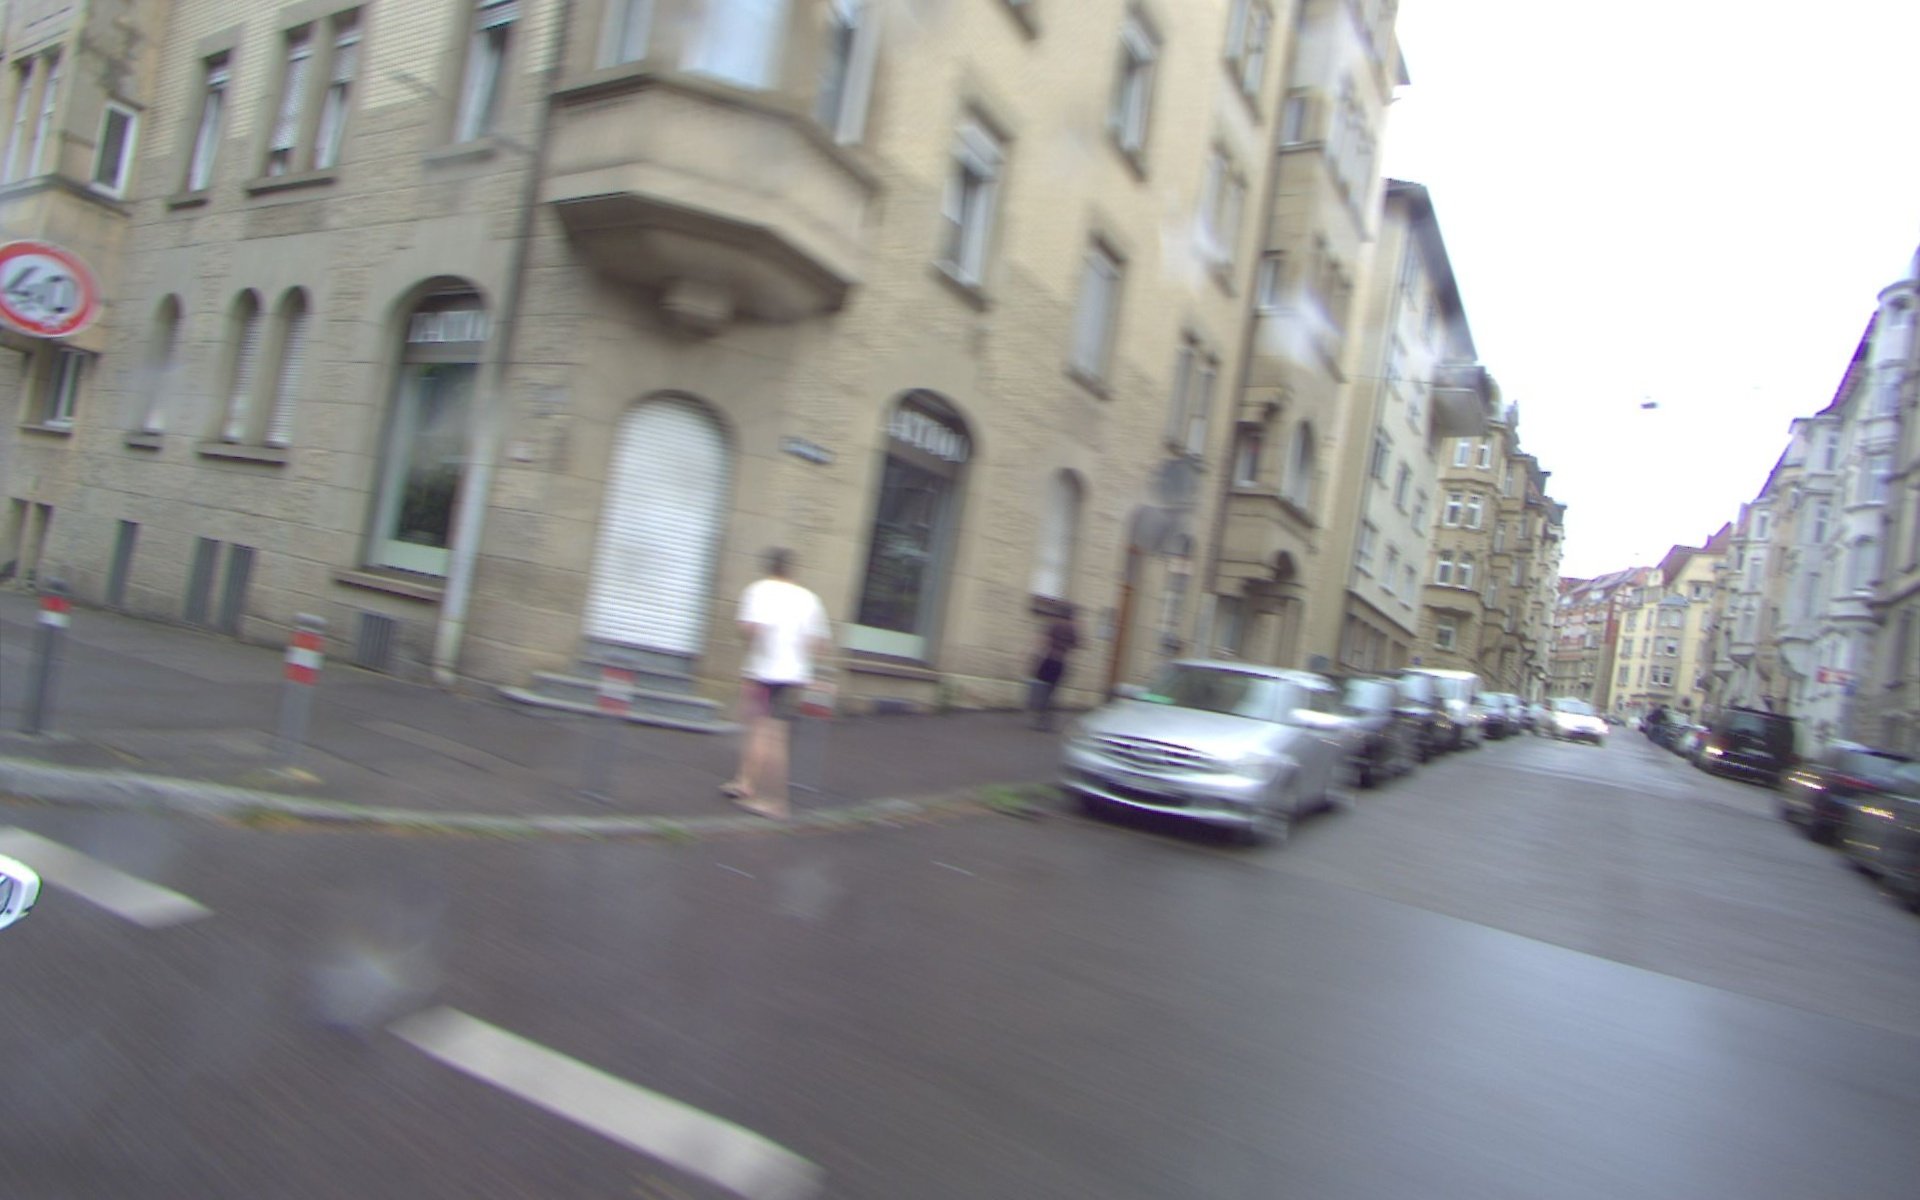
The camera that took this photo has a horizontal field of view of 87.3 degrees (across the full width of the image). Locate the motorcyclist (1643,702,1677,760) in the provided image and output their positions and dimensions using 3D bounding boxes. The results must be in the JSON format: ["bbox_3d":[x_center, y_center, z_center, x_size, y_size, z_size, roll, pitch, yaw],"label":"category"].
[{"bbox_3d":[22.155,4.147,31.819,0.635,1.728,0.930,7,-2,41],"label":"motorcyclist"}]

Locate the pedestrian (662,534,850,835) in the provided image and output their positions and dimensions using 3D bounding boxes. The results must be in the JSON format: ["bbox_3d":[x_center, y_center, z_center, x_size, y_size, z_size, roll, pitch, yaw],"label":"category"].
[{"bbox_3d":[-1.345,0.537,6.675,0.745,1.809,0.695,8,1,29],"label":"pedestrian"}]

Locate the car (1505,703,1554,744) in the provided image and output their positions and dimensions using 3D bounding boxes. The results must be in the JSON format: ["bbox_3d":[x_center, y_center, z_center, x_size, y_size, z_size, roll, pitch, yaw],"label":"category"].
[{"bbox_3d":[28.505,6.188,50.342,1.722,1.711,3.994,7,-3,34],"label":"car"}]

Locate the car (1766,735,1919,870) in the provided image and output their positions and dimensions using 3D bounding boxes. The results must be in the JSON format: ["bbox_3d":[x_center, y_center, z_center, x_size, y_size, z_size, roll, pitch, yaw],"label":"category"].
[{"bbox_3d":[13.269,2.887,14.650,1.834,1.460,4.133,8,-1,33],"label":"car"}]

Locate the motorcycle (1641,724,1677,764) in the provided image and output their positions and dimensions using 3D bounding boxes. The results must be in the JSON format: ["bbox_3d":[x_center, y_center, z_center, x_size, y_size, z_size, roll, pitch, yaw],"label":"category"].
[{"bbox_3d":[22.129,4.567,31.839,0.635,1.110,2.282,7,-3,40],"label":"motorcycle"}]

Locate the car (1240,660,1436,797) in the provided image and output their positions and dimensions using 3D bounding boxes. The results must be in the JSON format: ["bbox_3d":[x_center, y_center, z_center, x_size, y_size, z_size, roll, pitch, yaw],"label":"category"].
[{"bbox_3d":[5.599,1.756,14.546,1.747,1.437,4.284,7,0,32],"label":"car"}]

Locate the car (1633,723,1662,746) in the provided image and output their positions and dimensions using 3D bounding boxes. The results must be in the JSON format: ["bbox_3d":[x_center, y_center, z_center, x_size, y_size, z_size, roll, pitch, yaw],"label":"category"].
[{"bbox_3d":[59.792,11.717,87.542,1.722,1.711,3.996,7,-3,32],"label":"car"}]

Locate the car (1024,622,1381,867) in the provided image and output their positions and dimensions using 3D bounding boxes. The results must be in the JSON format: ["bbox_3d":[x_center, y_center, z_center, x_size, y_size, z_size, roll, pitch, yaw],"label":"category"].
[{"bbox_3d":[2.537,1.265,9.538,1.860,1.549,4.344,7,-2,32],"label":"car"}]

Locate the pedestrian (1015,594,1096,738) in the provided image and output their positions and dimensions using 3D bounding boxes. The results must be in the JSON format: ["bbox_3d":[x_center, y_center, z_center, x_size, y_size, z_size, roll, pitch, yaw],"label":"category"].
[{"bbox_3d":[1.206,0.836,12.703,0.616,1.707,0.548,7,-1,35],"label":"pedestrian"}]

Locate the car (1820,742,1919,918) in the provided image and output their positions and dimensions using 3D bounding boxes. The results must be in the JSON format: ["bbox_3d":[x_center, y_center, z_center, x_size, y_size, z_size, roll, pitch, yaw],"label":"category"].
[{"bbox_3d":[10.399,2.390,10.221,1.834,1.460,4.133,8,-1,33],"label":"car"}]

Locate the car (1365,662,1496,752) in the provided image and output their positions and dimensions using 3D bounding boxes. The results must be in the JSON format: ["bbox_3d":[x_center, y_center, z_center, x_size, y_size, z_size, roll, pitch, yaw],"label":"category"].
[{"bbox_3d":[10.850,2.454,23.029,1.969,1.698,4.305,3,-4,34],"label":"car"}]

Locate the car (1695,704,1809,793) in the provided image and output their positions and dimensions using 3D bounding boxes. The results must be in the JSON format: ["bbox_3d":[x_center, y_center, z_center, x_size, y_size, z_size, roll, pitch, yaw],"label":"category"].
[{"bbox_3d":[22.302,4.172,28.507,1.968,2.036,4.322,7,-3,34],"label":"car"}]

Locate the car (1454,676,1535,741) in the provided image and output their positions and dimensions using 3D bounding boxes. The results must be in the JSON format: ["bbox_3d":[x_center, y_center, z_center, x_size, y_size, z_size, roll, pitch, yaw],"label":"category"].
[{"bbox_3d":[18.775,3.847,35.236,1.882,1.719,4.311,7,-5,35],"label":"car"}]

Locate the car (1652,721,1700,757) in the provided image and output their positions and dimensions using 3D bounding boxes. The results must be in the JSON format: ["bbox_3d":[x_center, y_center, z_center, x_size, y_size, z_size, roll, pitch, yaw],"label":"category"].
[{"bbox_3d":[40.631,7.897,57.144,1.722,1.711,3.996,7,-3,32],"label":"car"}]

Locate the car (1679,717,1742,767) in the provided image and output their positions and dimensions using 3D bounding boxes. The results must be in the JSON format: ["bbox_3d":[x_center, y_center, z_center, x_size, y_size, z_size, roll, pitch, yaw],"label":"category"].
[{"bbox_3d":[31.399,5.940,42.178,1.722,1.711,3.994,7,-3,34],"label":"car"}]

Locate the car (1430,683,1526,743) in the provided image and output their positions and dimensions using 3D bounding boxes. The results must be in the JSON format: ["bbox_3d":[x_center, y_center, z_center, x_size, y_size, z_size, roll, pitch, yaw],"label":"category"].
[{"bbox_3d":[15.935,3.449,30.837,1.968,1.436,4.303,7,-1,35],"label":"car"}]

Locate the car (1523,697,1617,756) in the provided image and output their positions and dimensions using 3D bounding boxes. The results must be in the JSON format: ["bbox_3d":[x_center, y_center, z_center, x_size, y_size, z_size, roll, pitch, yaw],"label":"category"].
[{"bbox_3d":[22.360,4.599,37.052,1.839,1.725,4.005,8,-2,17],"label":"car"}]

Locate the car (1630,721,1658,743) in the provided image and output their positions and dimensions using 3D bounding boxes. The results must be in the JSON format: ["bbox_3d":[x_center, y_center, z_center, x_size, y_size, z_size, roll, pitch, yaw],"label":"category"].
[{"bbox_3d":[62.495,12.053,91.891,1.722,1.711,3.996,7,-3,32],"label":"car"}]

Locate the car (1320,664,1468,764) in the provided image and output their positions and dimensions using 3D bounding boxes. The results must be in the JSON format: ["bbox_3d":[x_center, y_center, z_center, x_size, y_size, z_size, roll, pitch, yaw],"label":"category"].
[{"bbox_3d":[8.276,2.139,18.968,1.748,1.500,4.284,5,-3,34],"label":"car"}]
